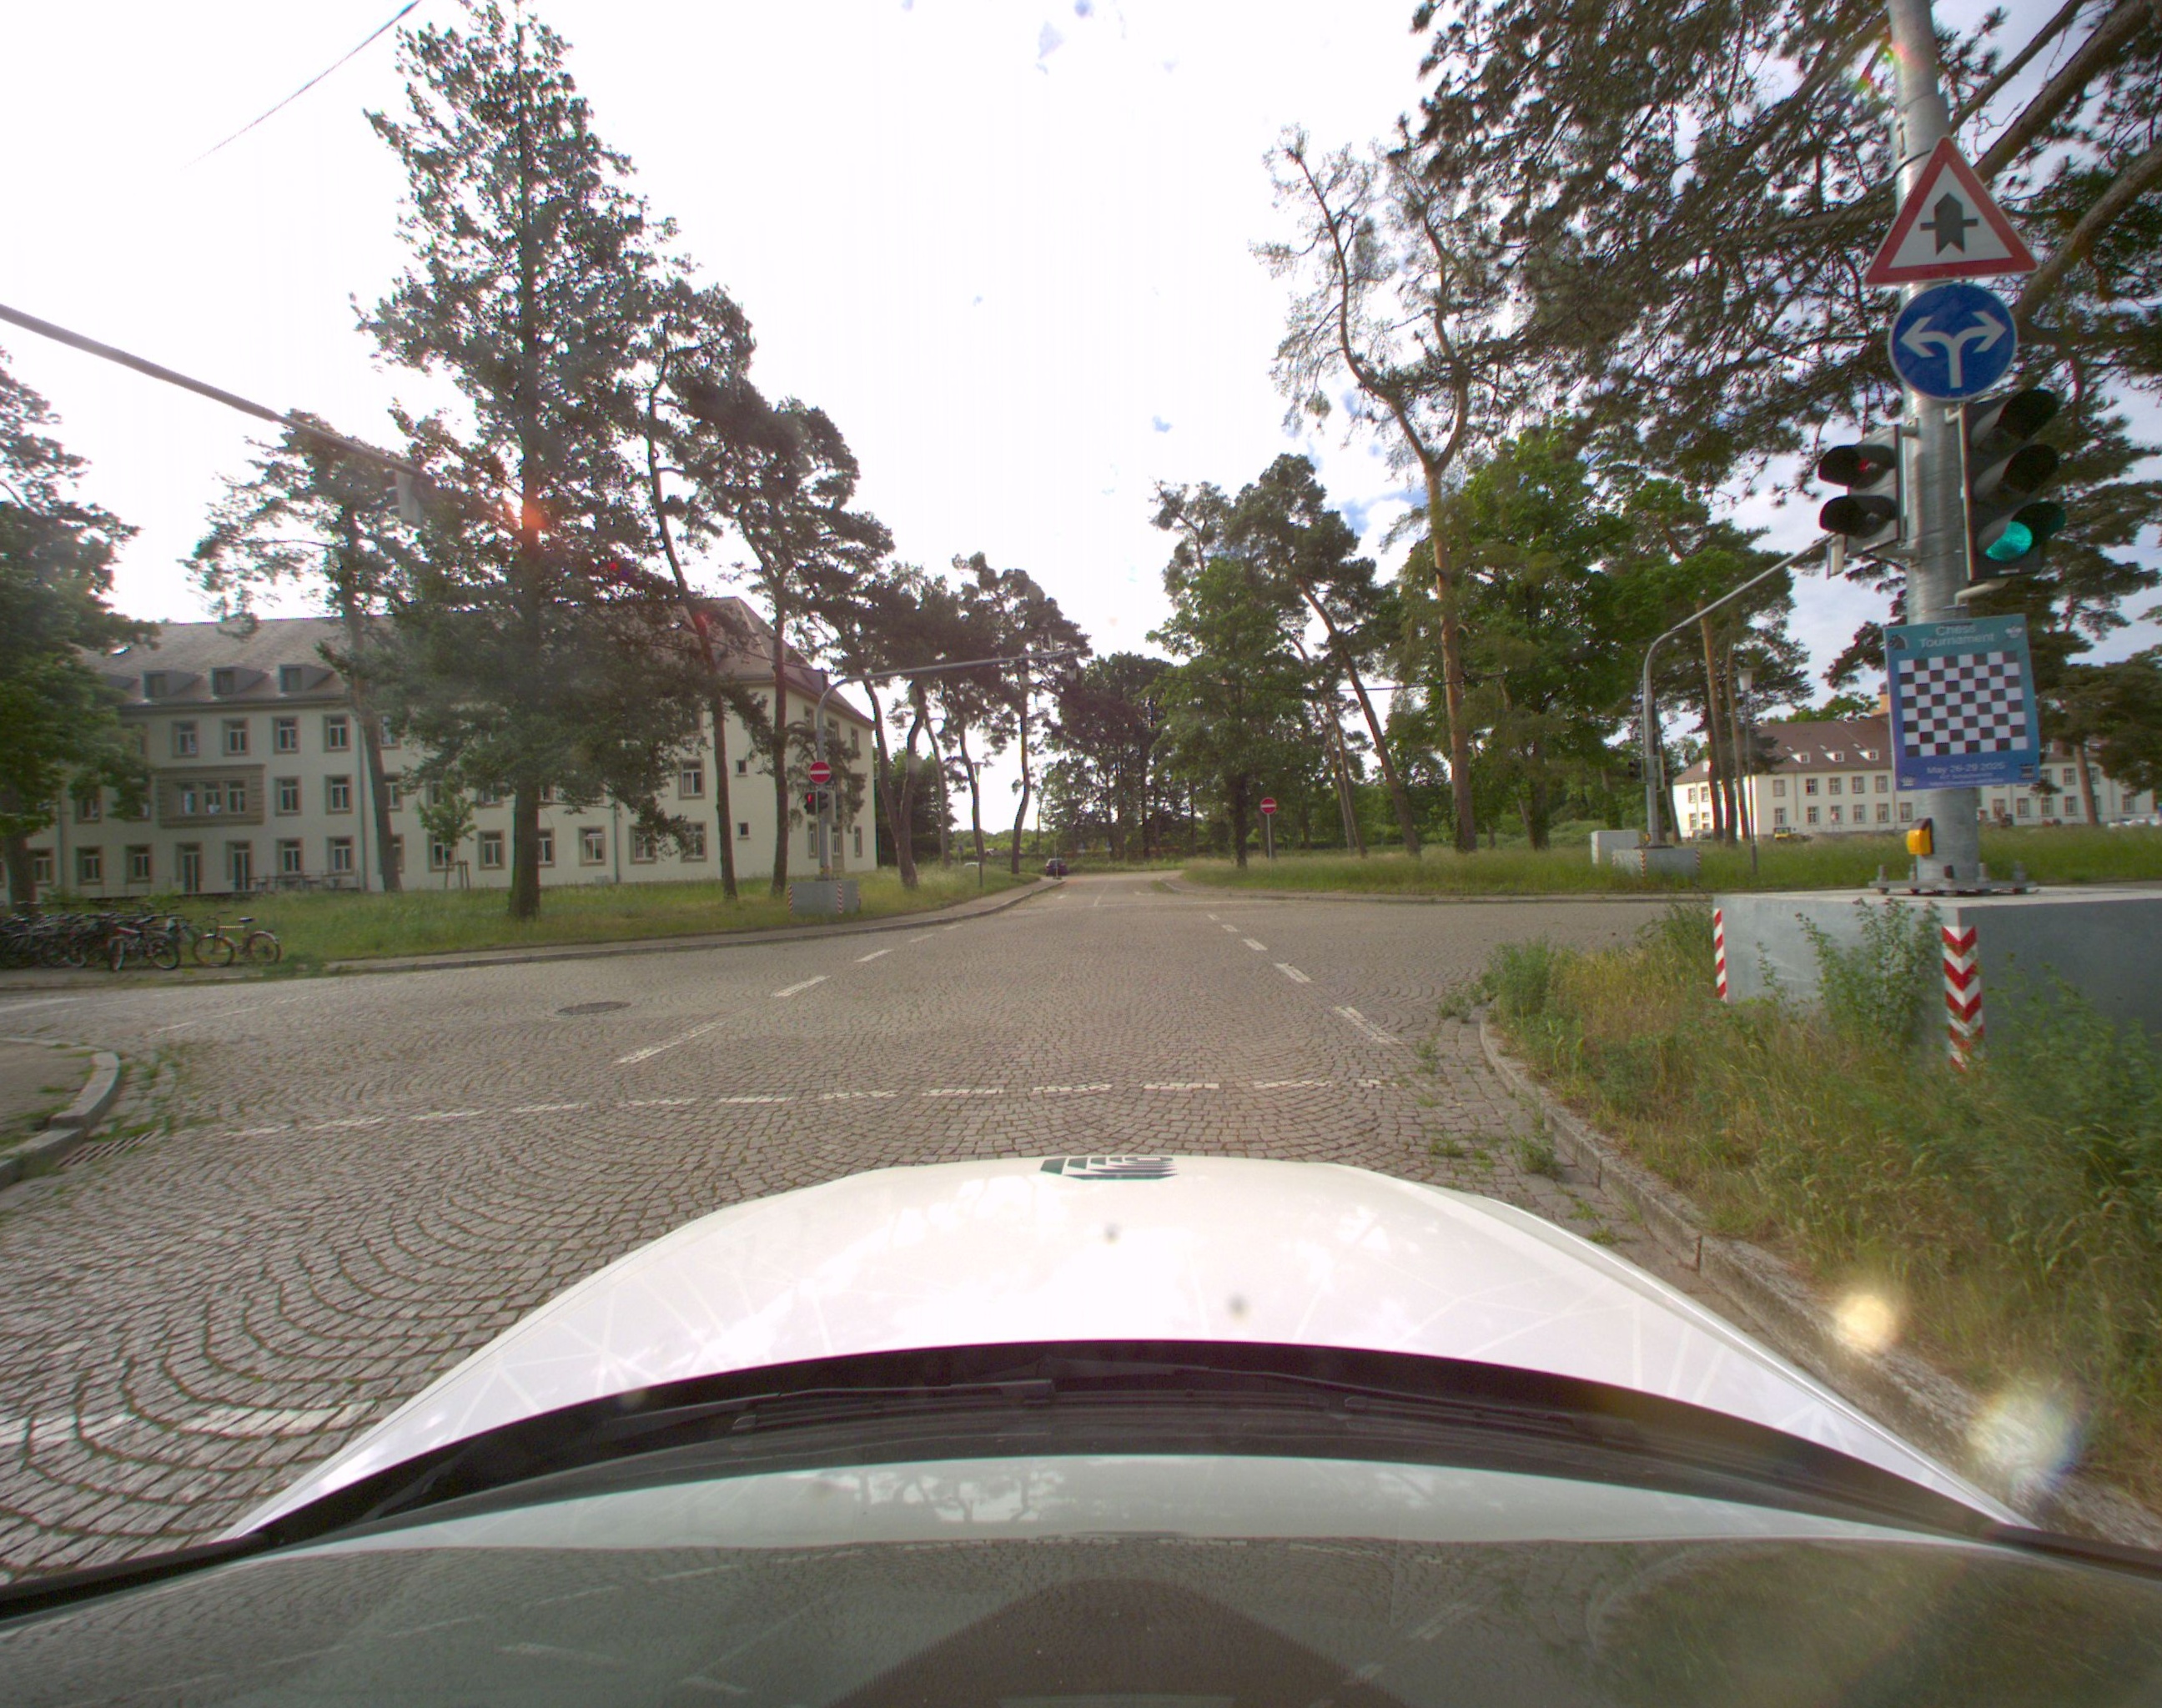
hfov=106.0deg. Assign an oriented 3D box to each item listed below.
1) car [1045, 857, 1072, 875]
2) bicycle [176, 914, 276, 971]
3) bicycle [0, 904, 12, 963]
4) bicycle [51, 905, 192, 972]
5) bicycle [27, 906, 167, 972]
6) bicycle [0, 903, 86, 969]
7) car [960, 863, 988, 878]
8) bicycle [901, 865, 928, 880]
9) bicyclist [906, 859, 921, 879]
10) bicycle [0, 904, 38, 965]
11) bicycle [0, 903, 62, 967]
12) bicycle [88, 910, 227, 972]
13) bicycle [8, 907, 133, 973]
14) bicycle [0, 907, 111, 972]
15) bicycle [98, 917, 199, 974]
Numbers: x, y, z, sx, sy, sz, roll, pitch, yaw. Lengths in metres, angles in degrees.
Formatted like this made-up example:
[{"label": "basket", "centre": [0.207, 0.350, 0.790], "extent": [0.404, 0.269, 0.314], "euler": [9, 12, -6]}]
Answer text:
[{"label": "car", "centre": [-1.970, 1.041, 72.447], "extent": [1.985, 1.508, 4.004], "euler": [-1, 0, 4]}, {"label": "bicycle", "centre": [-16.413, 1.690, 15.643], "extent": [1.453, 0.996, 0.453], "euler": [-2, 0, 3]}, {"label": "bicycle", "centre": [-23.975, 1.759, 17.211], "extent": [0.447, 1.283, 1.696], "euler": [-2, 0, 2]}, {"label": "bicycle", "centre": [-20.100, 1.743, 17.132], "extent": [0.573, 1.178, 1.955], "euler": [-2, 0, 2]}, {"label": "bicycle", "centre": [-20.682, 1.754, 17.181], "extent": [0.525, 1.178, 1.931], "euler": [-2, 0, 2]}, {"label": "bicycle", "centre": [-22.390, 1.732, 17.267], "extent": [0.447, 1.283, 1.696], "euler": [-2, 0, 2]}, {"label": "car", "centre": [-9.653, 1.466, 73.849], "extent": [1.681, 1.156, 4.004], "euler": [-2, 0, 4]}, {"label": "bicycle", "centre": [-13.388, 1.513, 65.455], "extent": [1.980, 1.095, 0.810], "euler": [-3, 0, -1]}, {"label": "bicyclist", "centre": [-13.424, 1.183, 65.463], "extent": [0.971, 1.510, 0.807], "euler": [-2, 0, -1]}, {"label": "bicycle", "centre": [-23.412, 1.750, 17.216], "extent": [0.447, 1.283, 1.696], "euler": [-2, 0, 2]}, {"label": "bicycle", "centre": [-22.896, 1.741, 17.242], "extent": [0.447, 1.283, 1.696], "euler": [-2, 0, 2]}, {"label": "bicycle", "centre": [-19.401, 1.797, 17.186], "extent": [0.573, 1.078, 1.997], "euler": [-2, 0, 2]}, {"label": "bicycle", "centre": [-21.196, 1.775, 17.141], "extent": [0.447, 1.178, 1.696], "euler": [-2, 0, 2]}, {"label": "bicycle", "centre": [-21.682, 1.771, 17.137], "extent": [0.447, 1.178, 1.696], "euler": [-2, 0, 2]}, {"label": "bicycle", "centre": [-17.937, 1.760, 15.672], "extent": [1.453, 0.996, 0.453], "euler": [-2, 0, 3]}]
